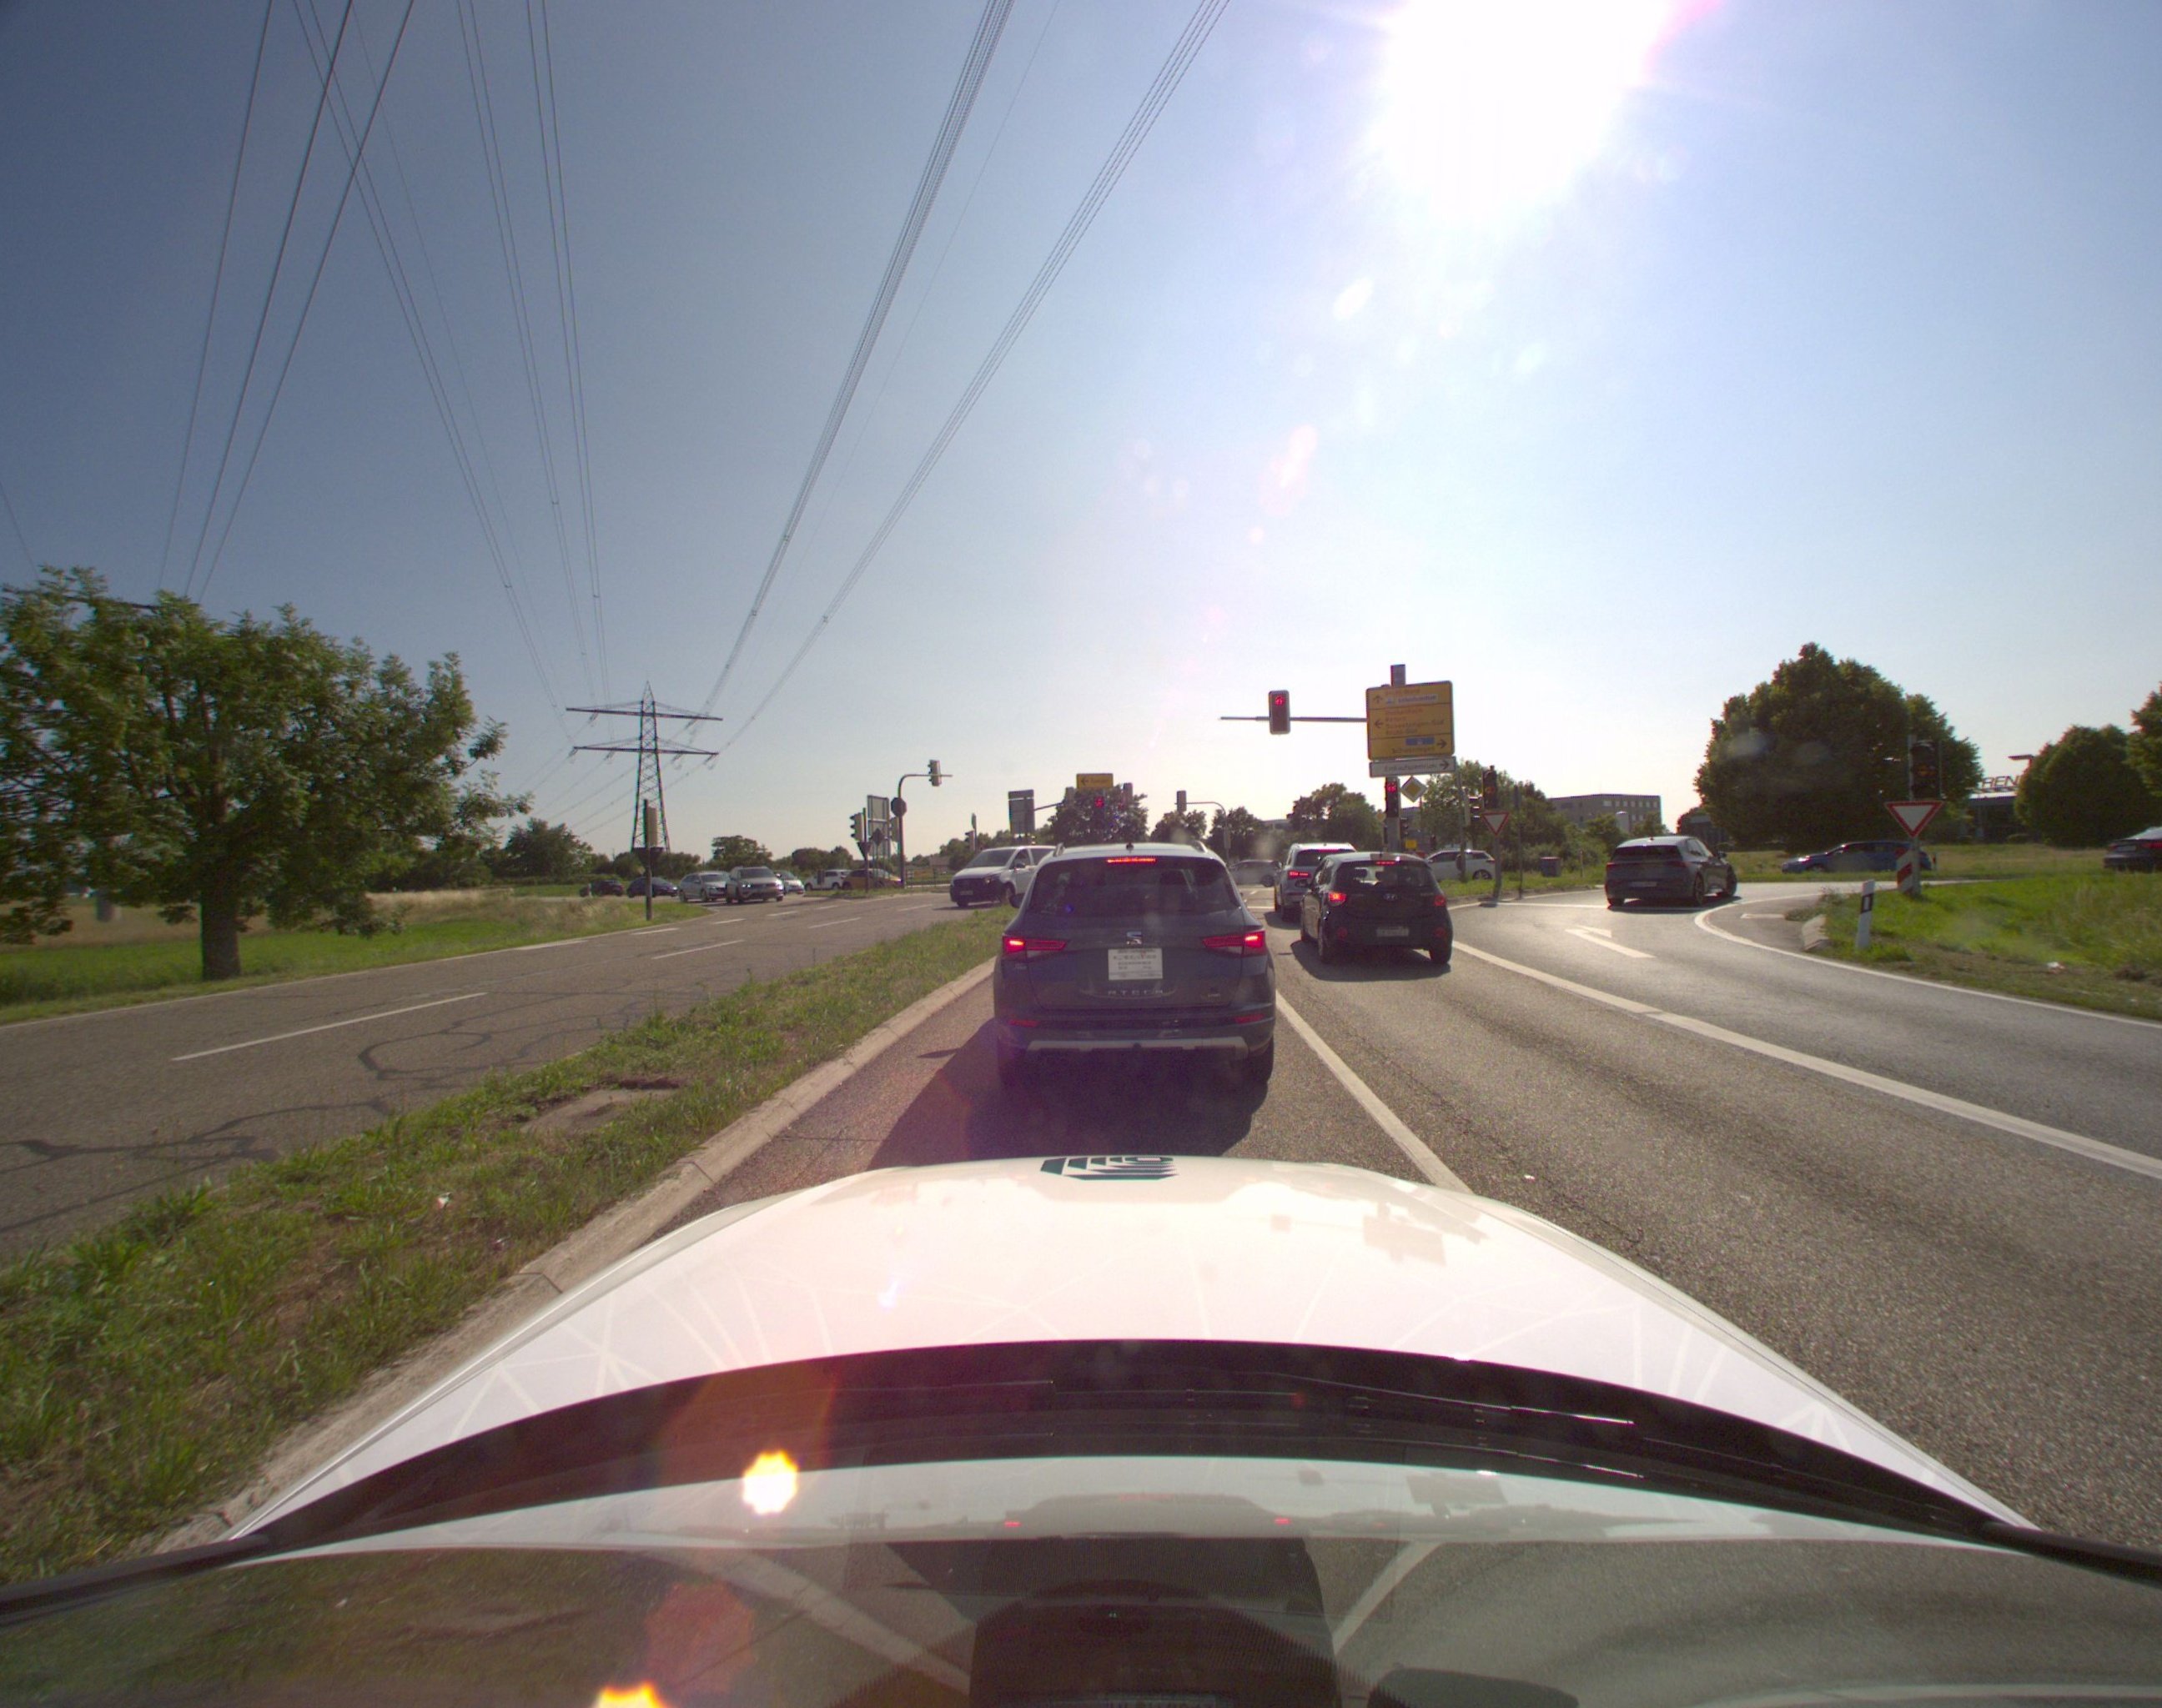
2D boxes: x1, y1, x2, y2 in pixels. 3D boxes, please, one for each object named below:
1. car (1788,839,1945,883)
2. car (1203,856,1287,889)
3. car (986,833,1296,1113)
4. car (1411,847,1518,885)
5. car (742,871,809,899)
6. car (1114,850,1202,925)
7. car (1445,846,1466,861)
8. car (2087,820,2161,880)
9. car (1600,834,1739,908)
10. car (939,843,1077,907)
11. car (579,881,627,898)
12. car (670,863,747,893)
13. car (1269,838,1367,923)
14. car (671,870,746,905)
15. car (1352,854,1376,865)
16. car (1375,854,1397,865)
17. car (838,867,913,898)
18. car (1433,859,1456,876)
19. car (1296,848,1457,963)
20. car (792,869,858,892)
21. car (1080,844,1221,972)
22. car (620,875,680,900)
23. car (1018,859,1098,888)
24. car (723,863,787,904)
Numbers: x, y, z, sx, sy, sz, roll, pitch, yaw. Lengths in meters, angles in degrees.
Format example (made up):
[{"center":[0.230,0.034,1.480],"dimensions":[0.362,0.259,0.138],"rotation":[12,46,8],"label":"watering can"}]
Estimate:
[{"center":[29.073,0.275,30.317],"dimensions":[3.830,1.519,1.819],"rotation":[-2,-1,31],"label":"car"},{"center":[8.415,0.954,41.775],"dimensions":[3.831,1.519,1.819],"rotation":[-2,-1,28],"label":"car"},{"center":[0.401,0.682,6.392],"dimensions":[1.735,1.569,3.626],"rotation":[0,-1,2],"label":"car"},{"center":[15.728,0.496,33.478],"dimensions":[3.863,1.465,1.733],"rotation":[-1,-1,25],"label":"car"},{"center":[-19.247,1.963,51.296],"dimensions":[3.949,1.651,1.831],"rotation":[-2,-1,30],"label":"car"},{"center":[1.763,0.679,17.969],"dimensions":[1.732,1.484,3.632],"rotation":[0,-1,7],"label":"car"},{"center":[45.888,-0.043,99.725],"dimensions":[1.699,1.819,3.801],"rotation":[0,-1,35],"label":"car"},{"center":[27.255,-0.169,19.372],"dimensions":[3.957,1.385,1.654],"rotation":[-2,0,16],"label":"car"},{"center":[13.847,0.338,19.081],"dimensions":[4.121,1.517,1.757],"rotation":[-2,0,-41],"label":"car"},{"center":[-2.257,0.602,26.716],"dimensions":[1.974,1.918,4.979],"rotation":[-1,0,30],"label":"car"},{"center":[-41.356,3.086,70.401],"dimensions":[4.051,1.416,1.727],"rotation":[-2,-1,29],"label":"car"},{"center":[-22.482,1.442,49.110],"dimensions":[4.700,1.651,1.831],"rotation":[-2,-1,30],"label":"car"},{"center":[5.141,0.532,18.071],"dimensions":[1.623,1.677,3.759],"rotation":[-1,0,9],"label":"car"},{"center":[-18.761,1.669,40.973],"dimensions":[3.948,1.651,1.832],"rotation":[-2,-1,39],"label":"car"},{"center":[38.236,0.726,110.157],"dimensions":[1.695,1.548,3.632],"rotation":[0,-1,44],"label":"car"},{"center":[46.233,0.808,123.541],"dimensions":[3.631,1.548,1.696],"rotation":[0,-1,-44],"label":"car"},{"center":[-11.782,1.617,46.700],"dimensions":[3.949,1.651,1.831],"rotation":[-2,-1,30],"label":"car"},{"center":[36.412,1.341,81.473],"dimensions":[1.859,1.673,3.793],"rotation":[0,0,28],"label":"car"},{"center":[4.187,0.651,12.009],"dimensions":[1.623,1.448,3.303],"rotation":[-1,0,9],"label":"car"},{"center":[-17.930,1.859,57.003],"dimensions":[4.280,1.519,1.819],"rotation":[-2,-1,28],"label":"car"},{"center":[0.955,0.682,11.870],"dimensions":[1.735,1.569,3.627],"rotation":[0,-1,3],"label":"car"},{"center":[-30.375,2.339,57.375],"dimensions":[3.949,1.651,1.831],"rotation":[-2,-1,30],"label":"car"},{"center":[-1.340,1.145,47.196],"dimensions":[4.280,1.519,1.819],"rotation":[-2,-1,28],"label":"car"},{"center":[-14.443,1.292,35.952],"dimensions":[1.827,1.651,3.958],"rotation":[-1,-1,-33],"label":"car"}]
